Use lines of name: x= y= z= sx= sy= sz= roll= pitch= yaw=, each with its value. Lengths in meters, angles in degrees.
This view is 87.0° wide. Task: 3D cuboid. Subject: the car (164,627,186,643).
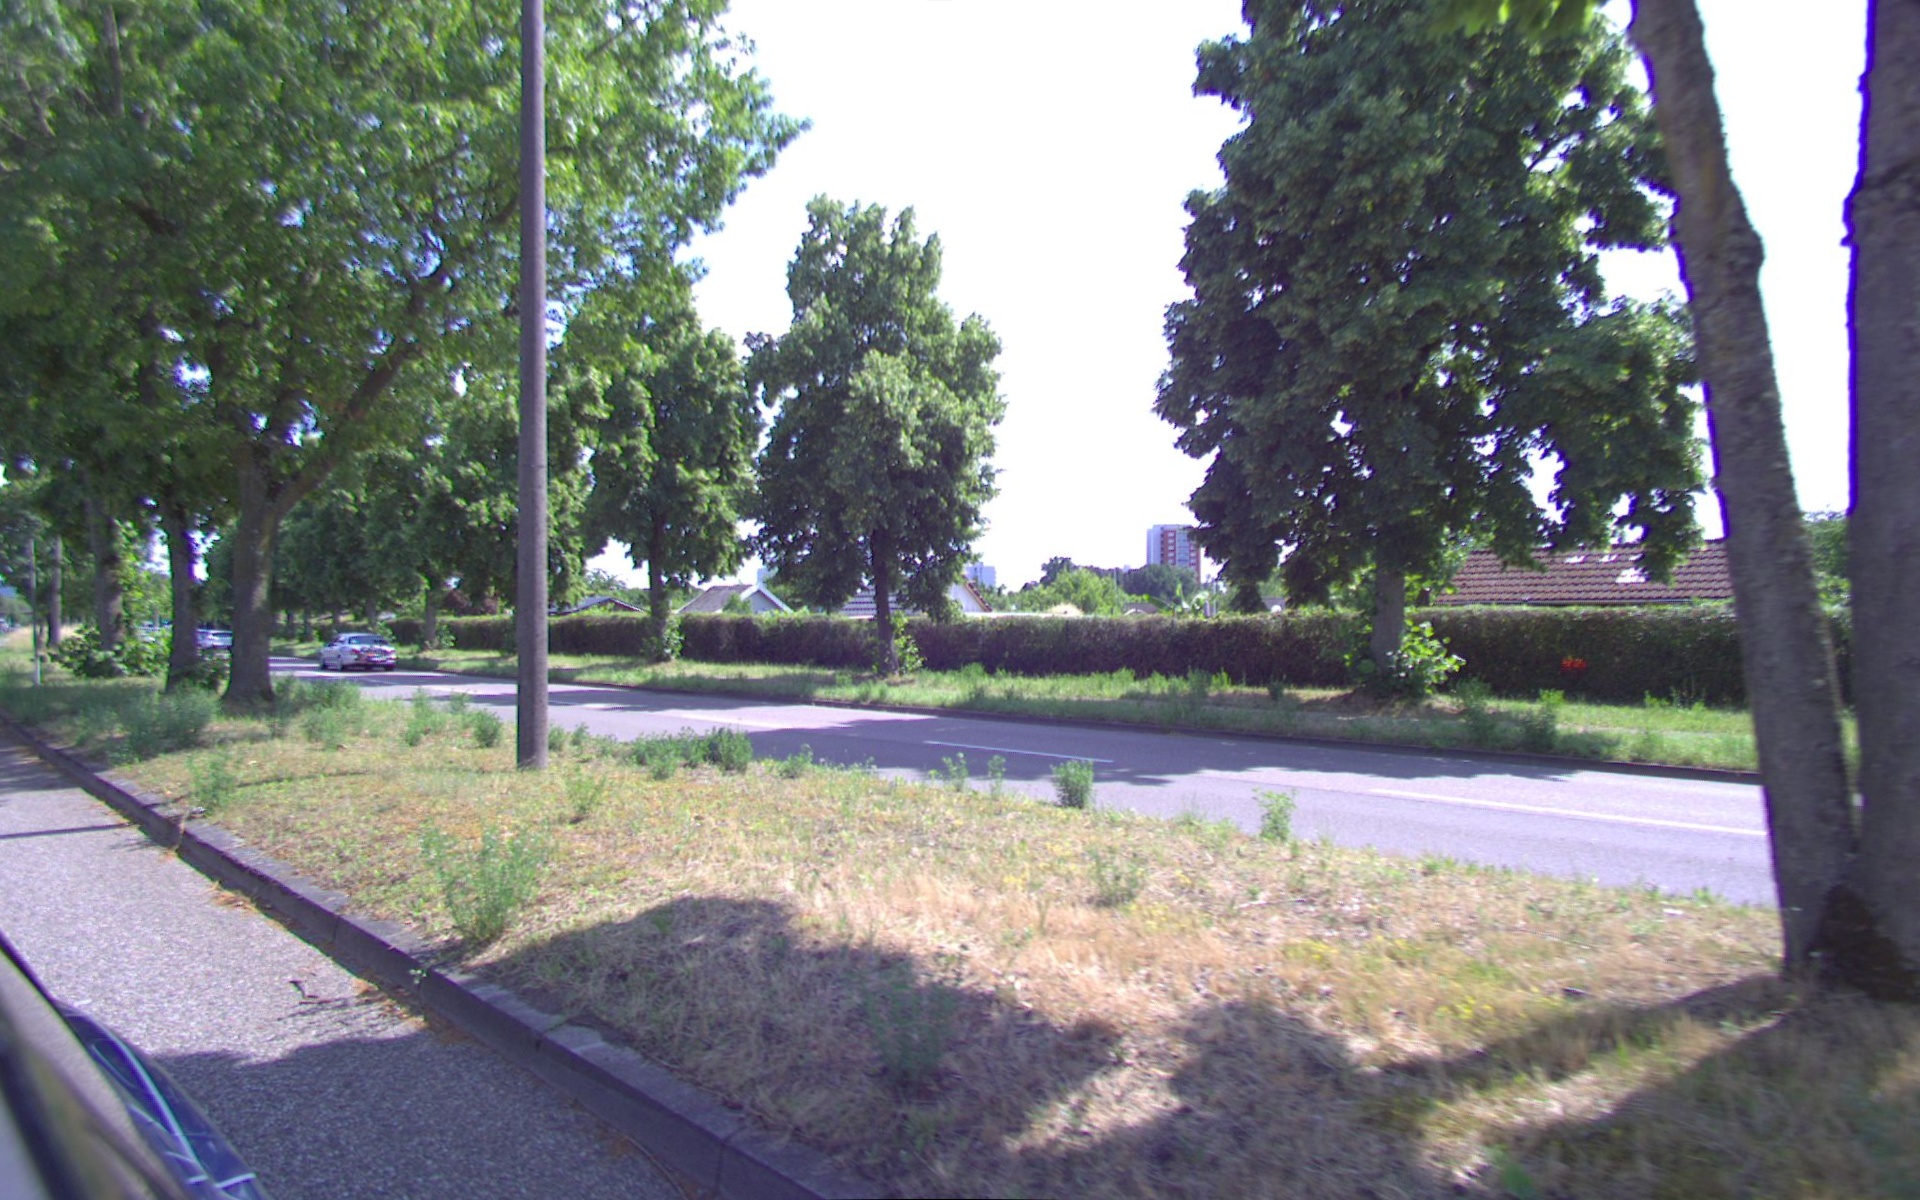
car: x=-84.028 y=3.770 z=108.313 sx=1.714 sy=1.598 sz=4.119 roll=3 pitch=-3 yaw=-39

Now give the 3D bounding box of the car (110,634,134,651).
car: x=-82.809 y=4.188 z=100.068 sx=1.714 sy=1.598 sz=4.119 roll=3 pitch=-3 yaw=-39

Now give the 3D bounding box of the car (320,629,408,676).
car: x=-21.697 y=1.881 z=36.784 sx=4.113 sy=1.598 sz=1.717 roll=-2 pitch=-4 yaw=44

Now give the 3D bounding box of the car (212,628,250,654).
car: x=-47.397 y=2.659 z=65.809 sx=1.714 sy=1.598 sz=4.119 roll=3 pitch=-3 yaw=-39

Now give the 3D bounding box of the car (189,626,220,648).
car: x=-57.576 y=2.799 z=77.094 sx=1.714 sy=1.598 sz=4.119 roll=3 pitch=-3 yaw=-39
